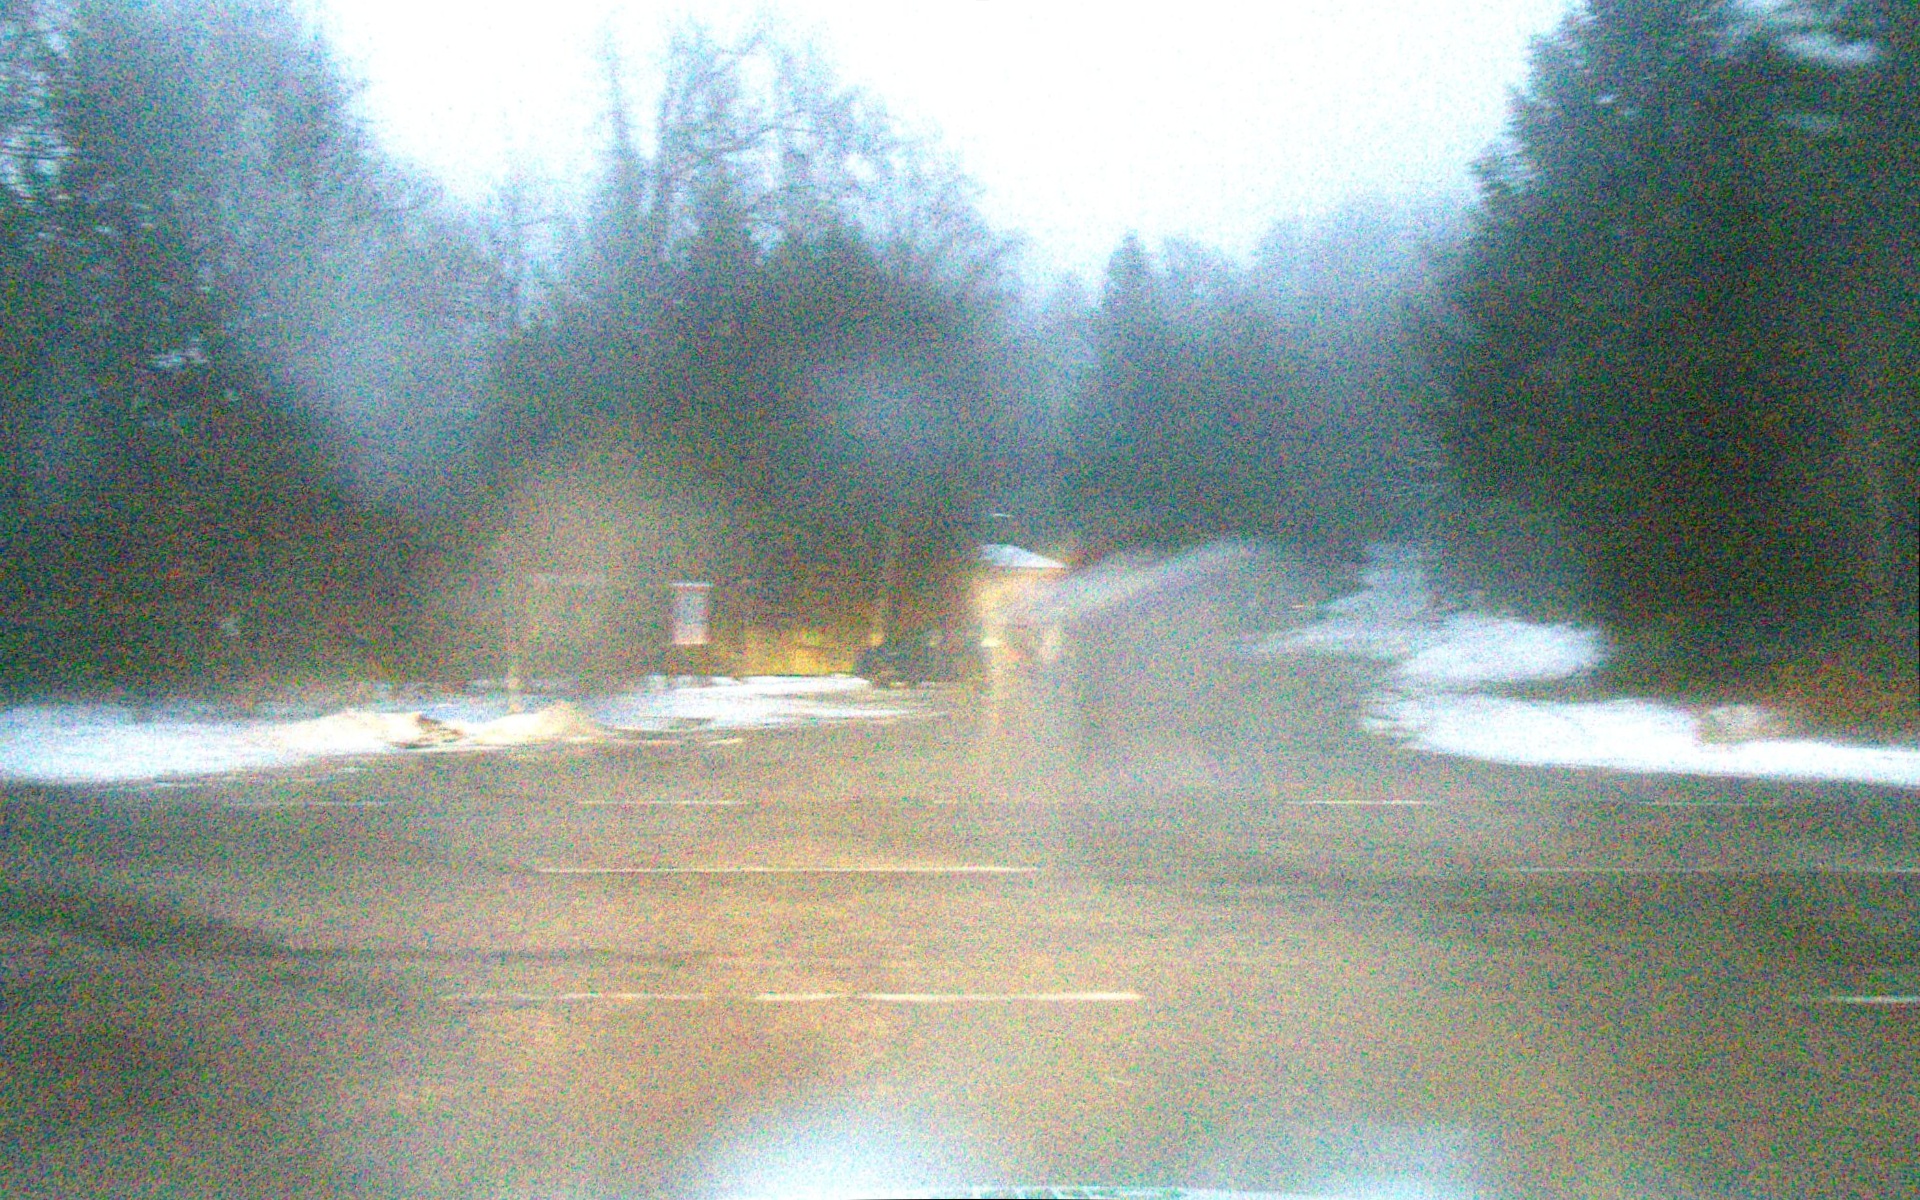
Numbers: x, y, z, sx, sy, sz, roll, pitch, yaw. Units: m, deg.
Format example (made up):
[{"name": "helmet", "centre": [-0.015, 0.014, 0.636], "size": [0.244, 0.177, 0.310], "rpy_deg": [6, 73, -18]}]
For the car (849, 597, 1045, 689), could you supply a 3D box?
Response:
[{"name": "car", "centre": [-0.274, 0.940, 36.643], "size": [3.865, 1.914, 2.000], "rpy_deg": [0, -2, 21]}]

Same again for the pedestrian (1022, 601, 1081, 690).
[{"name": "pedestrian", "centre": [1.949, 0.973, 35.221], "size": [0.941, 1.860, 0.924], "rpy_deg": [0, -2, 25]}]
